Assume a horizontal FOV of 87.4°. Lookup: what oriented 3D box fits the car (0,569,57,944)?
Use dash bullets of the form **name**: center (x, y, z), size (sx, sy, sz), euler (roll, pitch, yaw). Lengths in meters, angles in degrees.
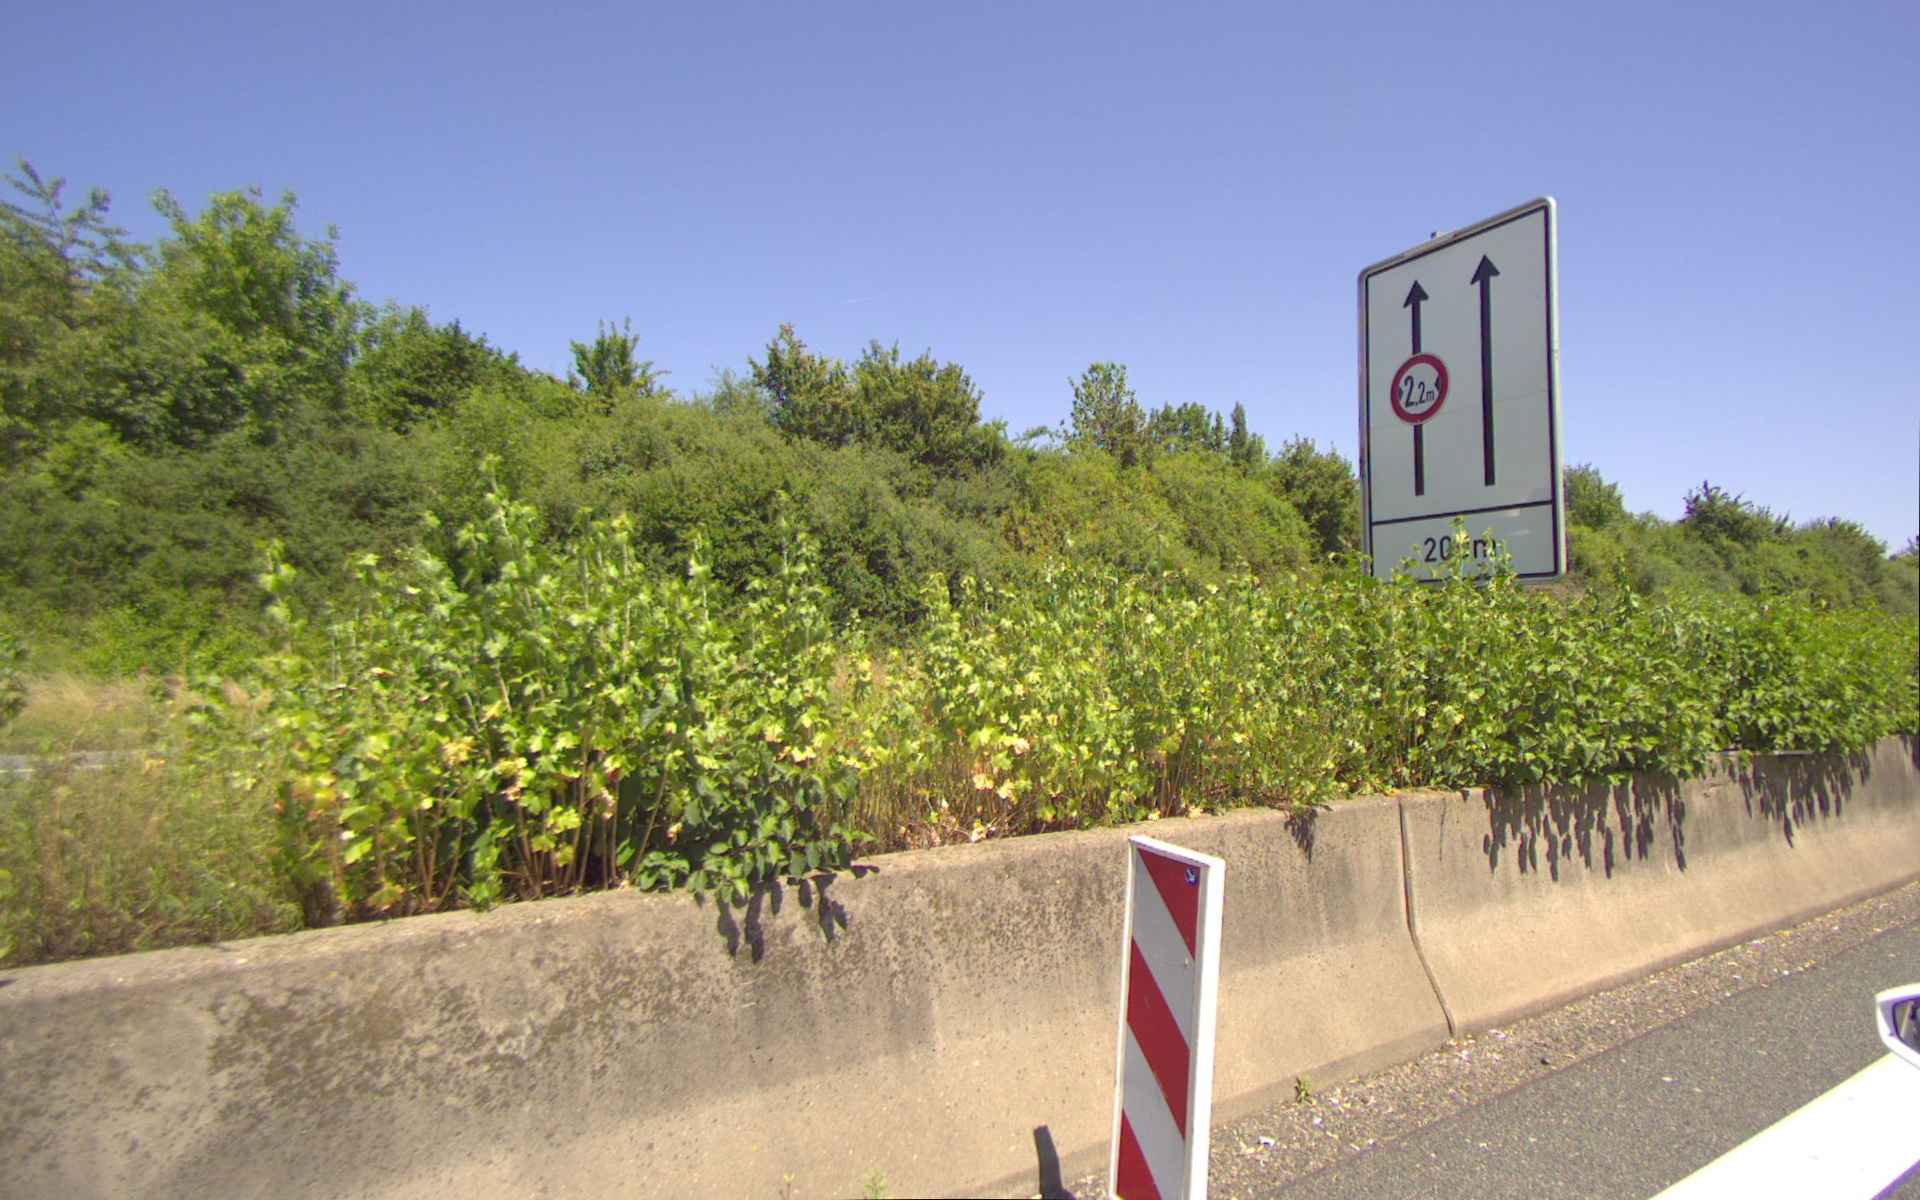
- **car**: center (-6.941, 0.820, 4.511), size (3.954, 2.040, 1.819), euler (1, -2, -31)
